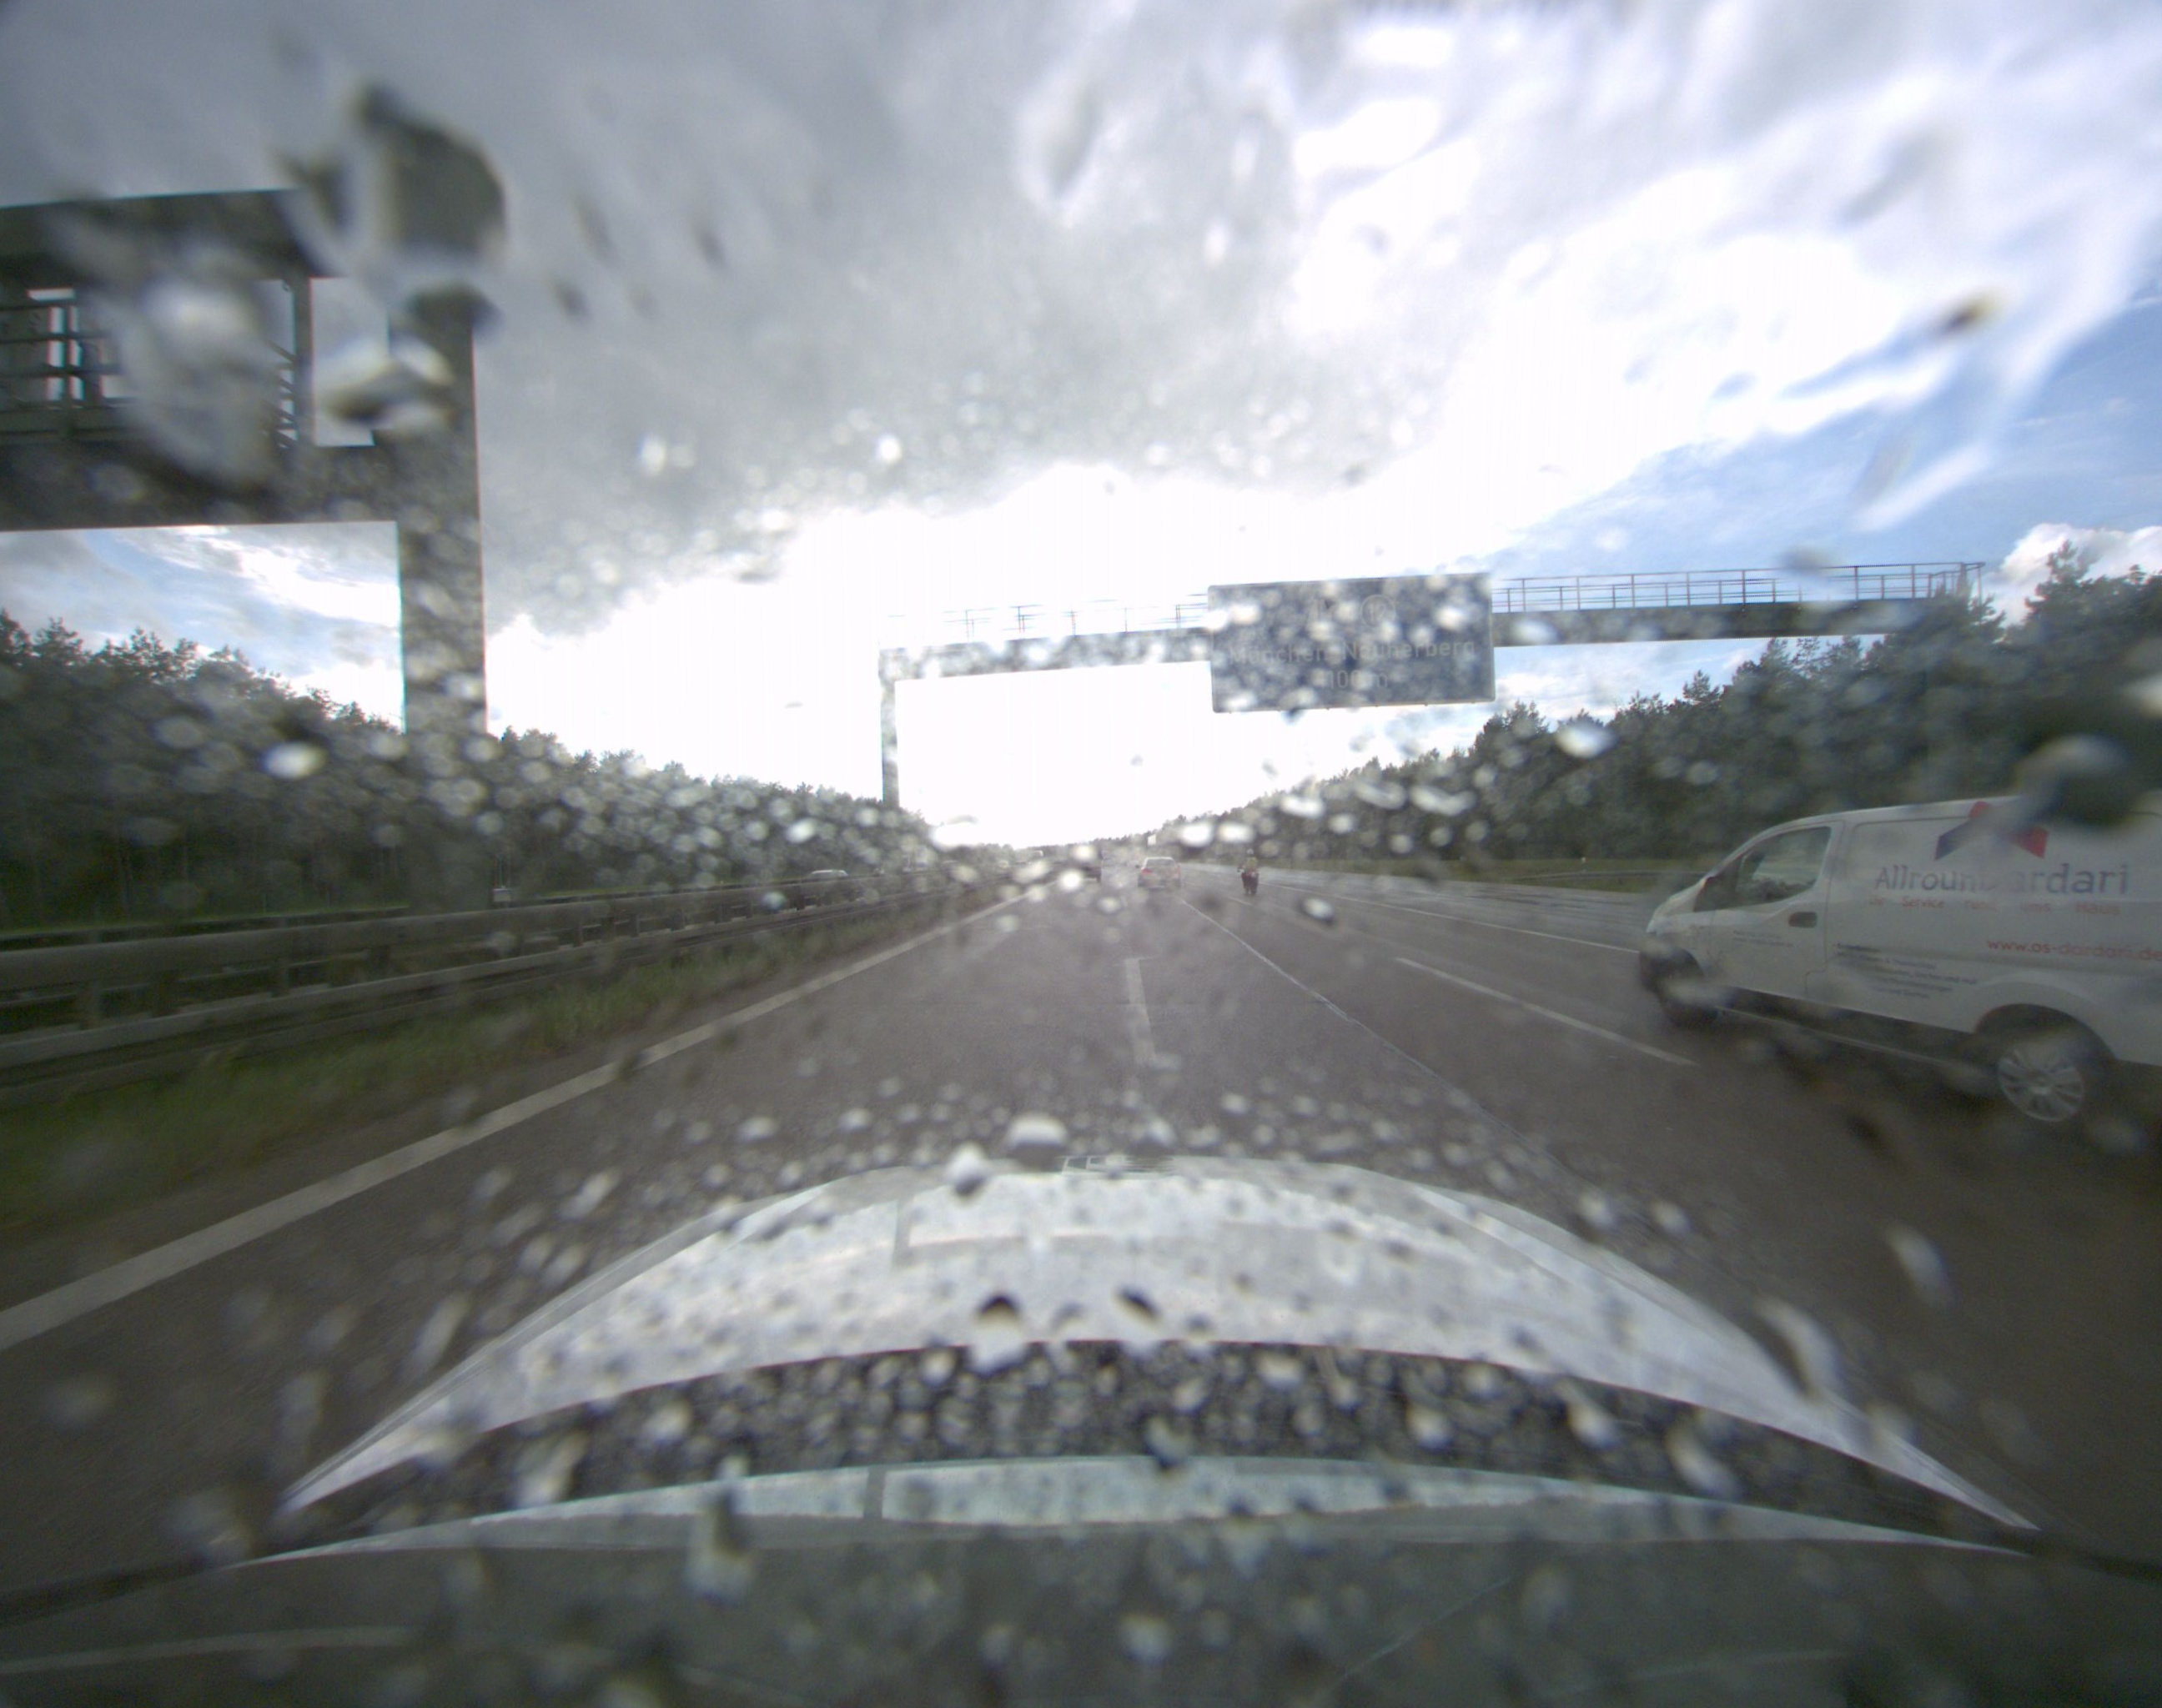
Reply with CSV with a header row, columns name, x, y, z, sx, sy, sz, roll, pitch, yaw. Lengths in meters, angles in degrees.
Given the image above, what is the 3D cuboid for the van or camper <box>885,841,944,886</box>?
name,x,y,z,sx,sy,sz,roll,pitch,yaw
van or camper,-12.403,0.709,61.308,2.291,3.113,7.551,-2,0,4

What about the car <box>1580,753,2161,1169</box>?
name,x,y,z,sx,sy,sz,roll,pitch,yaw
car,6.008,0.484,5.877,1.956,1.902,4.884,-1,0,2

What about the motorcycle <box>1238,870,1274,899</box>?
name,x,y,z,sx,sy,sz,roll,pitch,yaw
motorcycle,6.726,1.164,31.374,0.996,1.031,2.175,-1,0,2

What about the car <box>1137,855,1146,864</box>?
name,x,y,z,sx,sy,sz,roll,pitch,yaw
car,14.596,1.348,196.640,1.986,2.014,4.001,0,-1,1

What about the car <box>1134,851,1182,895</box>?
name,x,y,z,sx,sy,sz,roll,pitch,yaw
car,3.551,0.832,37.831,2.068,1.885,5.018,-1,0,5

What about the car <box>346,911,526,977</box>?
name,x,y,z,sx,sy,sz,roll,pitch,yaw
car,-17.836,2.437,22.800,1.737,1.376,4.001,-2,0,2

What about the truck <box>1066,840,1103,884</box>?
name,x,y,z,sx,sy,sz,roll,pitch,yaw
truck,0.224,0.478,49.432,2.130,2.489,5.312,-1,0,0

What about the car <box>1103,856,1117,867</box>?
name,x,y,z,sx,sy,sz,roll,pitch,yaw
car,3.943,1.016,109.010,1.824,1.466,4.002,-1,0,2

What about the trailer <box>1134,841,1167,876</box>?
name,x,y,z,sx,sy,sz,roll,pitch,yaw
trailer,8.314,0.582,99.131,2.318,4.002,13.400,-1,-1,-2

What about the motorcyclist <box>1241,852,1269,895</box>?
name,x,y,z,sx,sy,sz,roll,pitch,yaw
motorcyclist,6.679,0.728,31.348,0.888,1.615,0.959,-1,-1,2

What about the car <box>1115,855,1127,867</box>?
name,x,y,z,sx,sy,sz,roll,pitch,yaw
car,6.799,1.196,139.139,1.901,2.014,4.001,-1,0,1
